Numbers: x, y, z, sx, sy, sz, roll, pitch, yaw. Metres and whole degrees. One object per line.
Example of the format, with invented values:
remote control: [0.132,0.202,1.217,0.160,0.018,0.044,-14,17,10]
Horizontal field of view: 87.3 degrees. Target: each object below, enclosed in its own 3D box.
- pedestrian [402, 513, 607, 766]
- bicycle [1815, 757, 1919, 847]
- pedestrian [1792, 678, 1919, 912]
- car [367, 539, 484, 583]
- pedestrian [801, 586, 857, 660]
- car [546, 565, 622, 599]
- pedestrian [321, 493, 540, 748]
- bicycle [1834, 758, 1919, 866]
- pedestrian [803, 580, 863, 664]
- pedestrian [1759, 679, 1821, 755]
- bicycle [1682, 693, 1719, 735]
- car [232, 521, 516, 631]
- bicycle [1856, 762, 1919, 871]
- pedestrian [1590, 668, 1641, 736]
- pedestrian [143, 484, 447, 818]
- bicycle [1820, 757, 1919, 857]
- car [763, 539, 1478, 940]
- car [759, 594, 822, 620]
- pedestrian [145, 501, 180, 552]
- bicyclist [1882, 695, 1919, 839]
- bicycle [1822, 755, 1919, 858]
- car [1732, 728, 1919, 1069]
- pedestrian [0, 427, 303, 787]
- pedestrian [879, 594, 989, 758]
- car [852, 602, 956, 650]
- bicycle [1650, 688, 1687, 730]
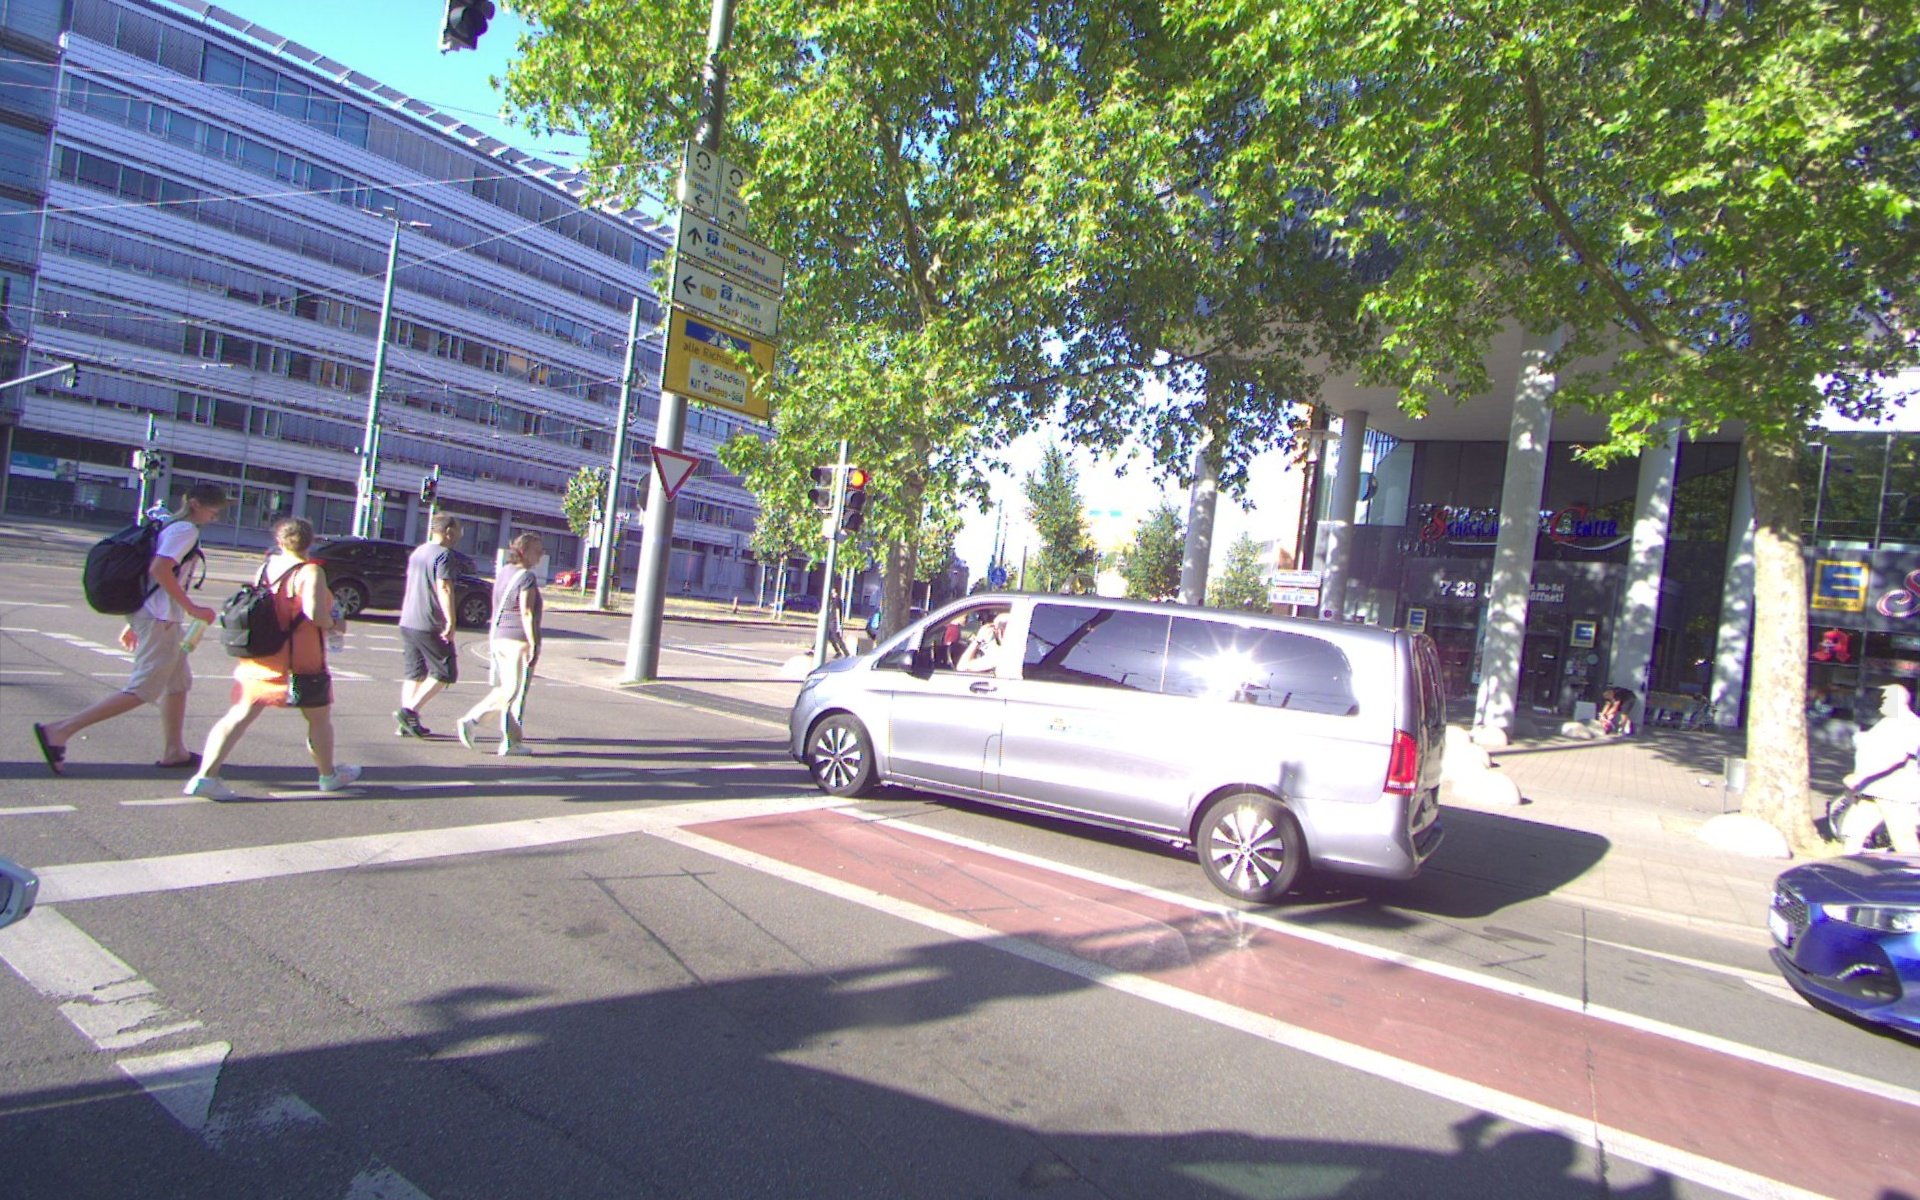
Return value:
pedestrian: [-3.611,0.328,8.058,0.744,1.827,1.075,7,-1,25]
bicycle: [12.480,2.693,12.879,0.661,0.945,2.167,7,0,-30]
pedestrian: [7.842,1.620,8.555,0.794,1.808,0.874,7,1,24]
car: [-24.237,-1.731,45.742,1.768,1.409,4.241,7,0,36]
pedestrian: [-3.247,0.576,24.933,0.855,1.701,0.845,7,-1,39]
car: [-21.753,-1.042,58.261,1.770,1.484,3.591,7,0,41]
pedestrian: [-4.369,0.186,8.373,0.818,1.915,1.149,7,-1,25]
bicycle: [10.729,2.402,11.047,1.545,1.038,0.461,7,1,29]
pedestrian: [-3.003,0.527,23.760,0.855,1.841,0.845,7,-1,39]
pedestrian: [21.970,3.100,26.641,0.990,1.867,0.844,6,1,-33]
bicycle: [22.507,3.442,30.555,0.709,1.142,1.912,7,0,39]
car: [-11.448,-0.394,20.013,1.794,1.602,4.491,7,-1,29]
bicycle: [10.491,2.357,10.497,1.545,1.038,0.461,7,1,29]
pedestrian: [17.485,2.713,26.863,0.952,1.662,0.864,7,1,32]
pedestrian: [-3.822,0.293,5.861,0.744,1.701,1.076,7,-1,25]
bicycle: [11.561,2.575,12.415,0.393,1.038,1.305,6,1,-42]
car: [1.105,0.824,8.002,5.053,1.988,1.997,7,-2,32]
car: [-12.010,0.518,71.231,1.948,1.364,3.982,7,0,41]
pedestrian: [-28.519,-2.630,35.989,0.549,1.701,0.719,7,-1,39]
bicyclist: [12.564,2.176,12.839,0.744,1.790,0.845,6,1,-31]
bicycle: [11.239,2.494,12.008,0.393,1.038,1.305,6,1,-42]
car: [6.424,1.712,4.711,4.147,1.482,1.767,7,0,32]
pedestrian: [-4.776,0.056,5.948,0.725,1.893,1.077,7,-1,25]
pedestrian: [-0.279,0.872,11.543,0.617,1.735,1.076,7,-1,28]
car: [-2.155,1.037,39.624,1.969,1.474,3.955,7,0,35]
bicycle: [21.857,3.357,31.008,0.709,1.142,1.912,7,0,39]
